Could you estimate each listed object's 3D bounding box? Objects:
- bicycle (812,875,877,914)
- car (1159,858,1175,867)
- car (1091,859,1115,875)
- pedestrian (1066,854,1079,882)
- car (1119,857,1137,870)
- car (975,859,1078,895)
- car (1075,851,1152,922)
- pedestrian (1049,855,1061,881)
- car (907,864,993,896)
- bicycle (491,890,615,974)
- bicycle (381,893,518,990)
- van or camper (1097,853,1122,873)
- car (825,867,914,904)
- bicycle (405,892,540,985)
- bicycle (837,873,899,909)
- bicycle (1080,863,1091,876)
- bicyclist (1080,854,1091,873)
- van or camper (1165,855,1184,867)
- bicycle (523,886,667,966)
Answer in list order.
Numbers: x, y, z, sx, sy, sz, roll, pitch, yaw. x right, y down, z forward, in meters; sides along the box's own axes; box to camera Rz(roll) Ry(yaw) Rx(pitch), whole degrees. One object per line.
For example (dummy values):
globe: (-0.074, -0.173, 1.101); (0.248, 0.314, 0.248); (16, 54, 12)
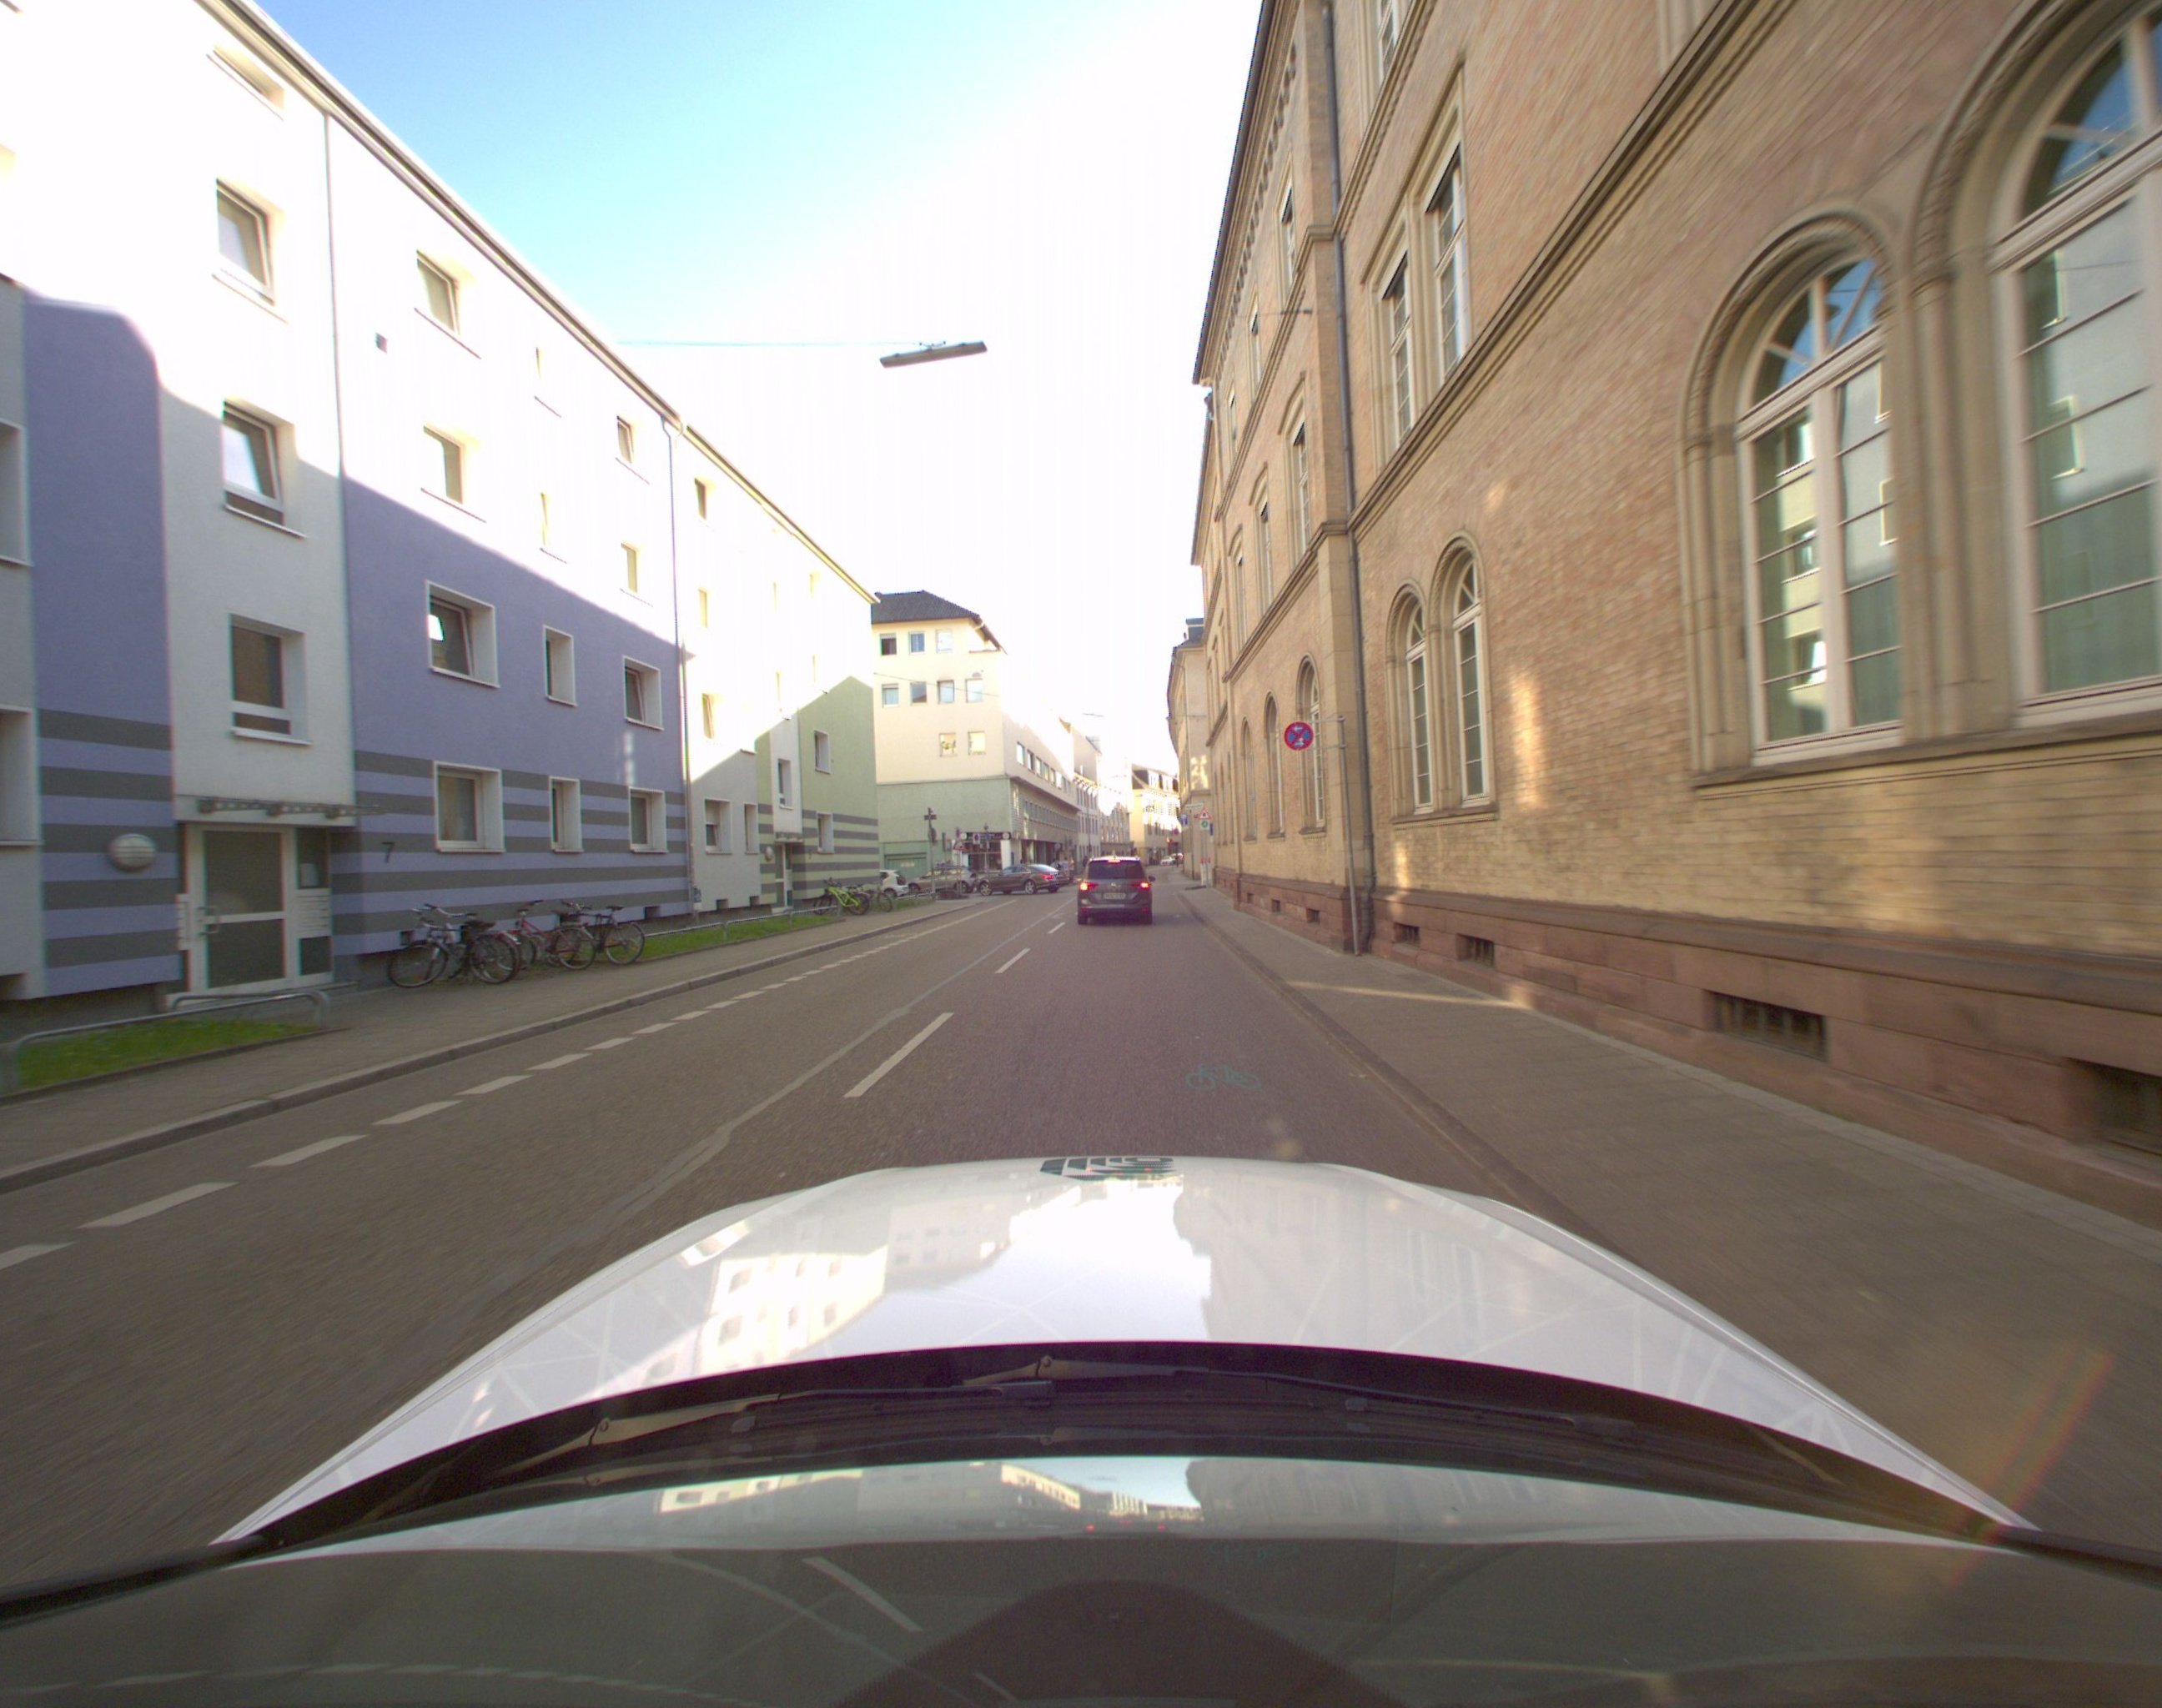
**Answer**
bicycle: (-7.528, 1.284, 25.953); (1.930, 1.179, 0.611); (1, -1, -12)
car: (13.977, 1.353, 132.660); (1.720, 1.468, 4.019); (-2, 0, 18)
car: (2.189, 1.271, 81.041); (1.855, 1.468, 3.843); (-2, 0, 9)
pedestrian: (-0.551, 0.948, 54.613); (0.550, 1.829, 0.735); (-2, -1, 27)
car: (5.968, 1.207, 102.797); (1.855, 1.468, 3.843); (-2, 0, 9)
car: (-2.625, 1.088, 38.646); (4.569, 1.542, 2.013); (-2, -1, 34)
car: (0.860, 0.751, 20.567); (1.754, 1.607, 4.003); (0, 0, 3)
pedestrian: (-1.842, 0.997, 57.599); (0.550, 1.829, 0.735); (-2, -1, 27)
car: (-6.927, 1.358, 43.417); (4.078, 1.443, 1.951); (-3, 0, 5)
bicycle: (-8.410, 1.228, 12.998); (1.633, 1.241, 0.467); (-2, -1, 1)
bicycle: (-8.777, 1.208, 11.341); (1.574, 1.241, 0.384); (-2, -1, 1)
van or camper: (3.033, 0.928, 86.745); (1.981, 2.013, 4.495); (-2, 0, 10)
car: (-9.754, 1.443, 37.694); (3.483, 1.443, 1.816); (-3, 0, 5)
bicycle: (-8.762, 1.212, 11.758); (1.579, 1.241, 0.449); (-2, -1, 1)
bicycle: (-7.158, 1.239, 27.407); (1.926, 1.179, 0.612); (1, -1, -6)
bicycle: (0.419, 1.359, 70.940); (0.827, 1.054, 2.551); (-2, 0, 3)
bicyclist: (0.402, 0.826, 71.006); (0.827, 1.562, 0.760); (-2, 0, 3)
van or camper: (15.898, 1.172, 138.297); (1.977, 2.013, 5.023); (-2, 0, 20)
bicycle: (-8.154, 1.198, 13.708); (2.001, 1.231, 0.623); (-2, -1, 1)
